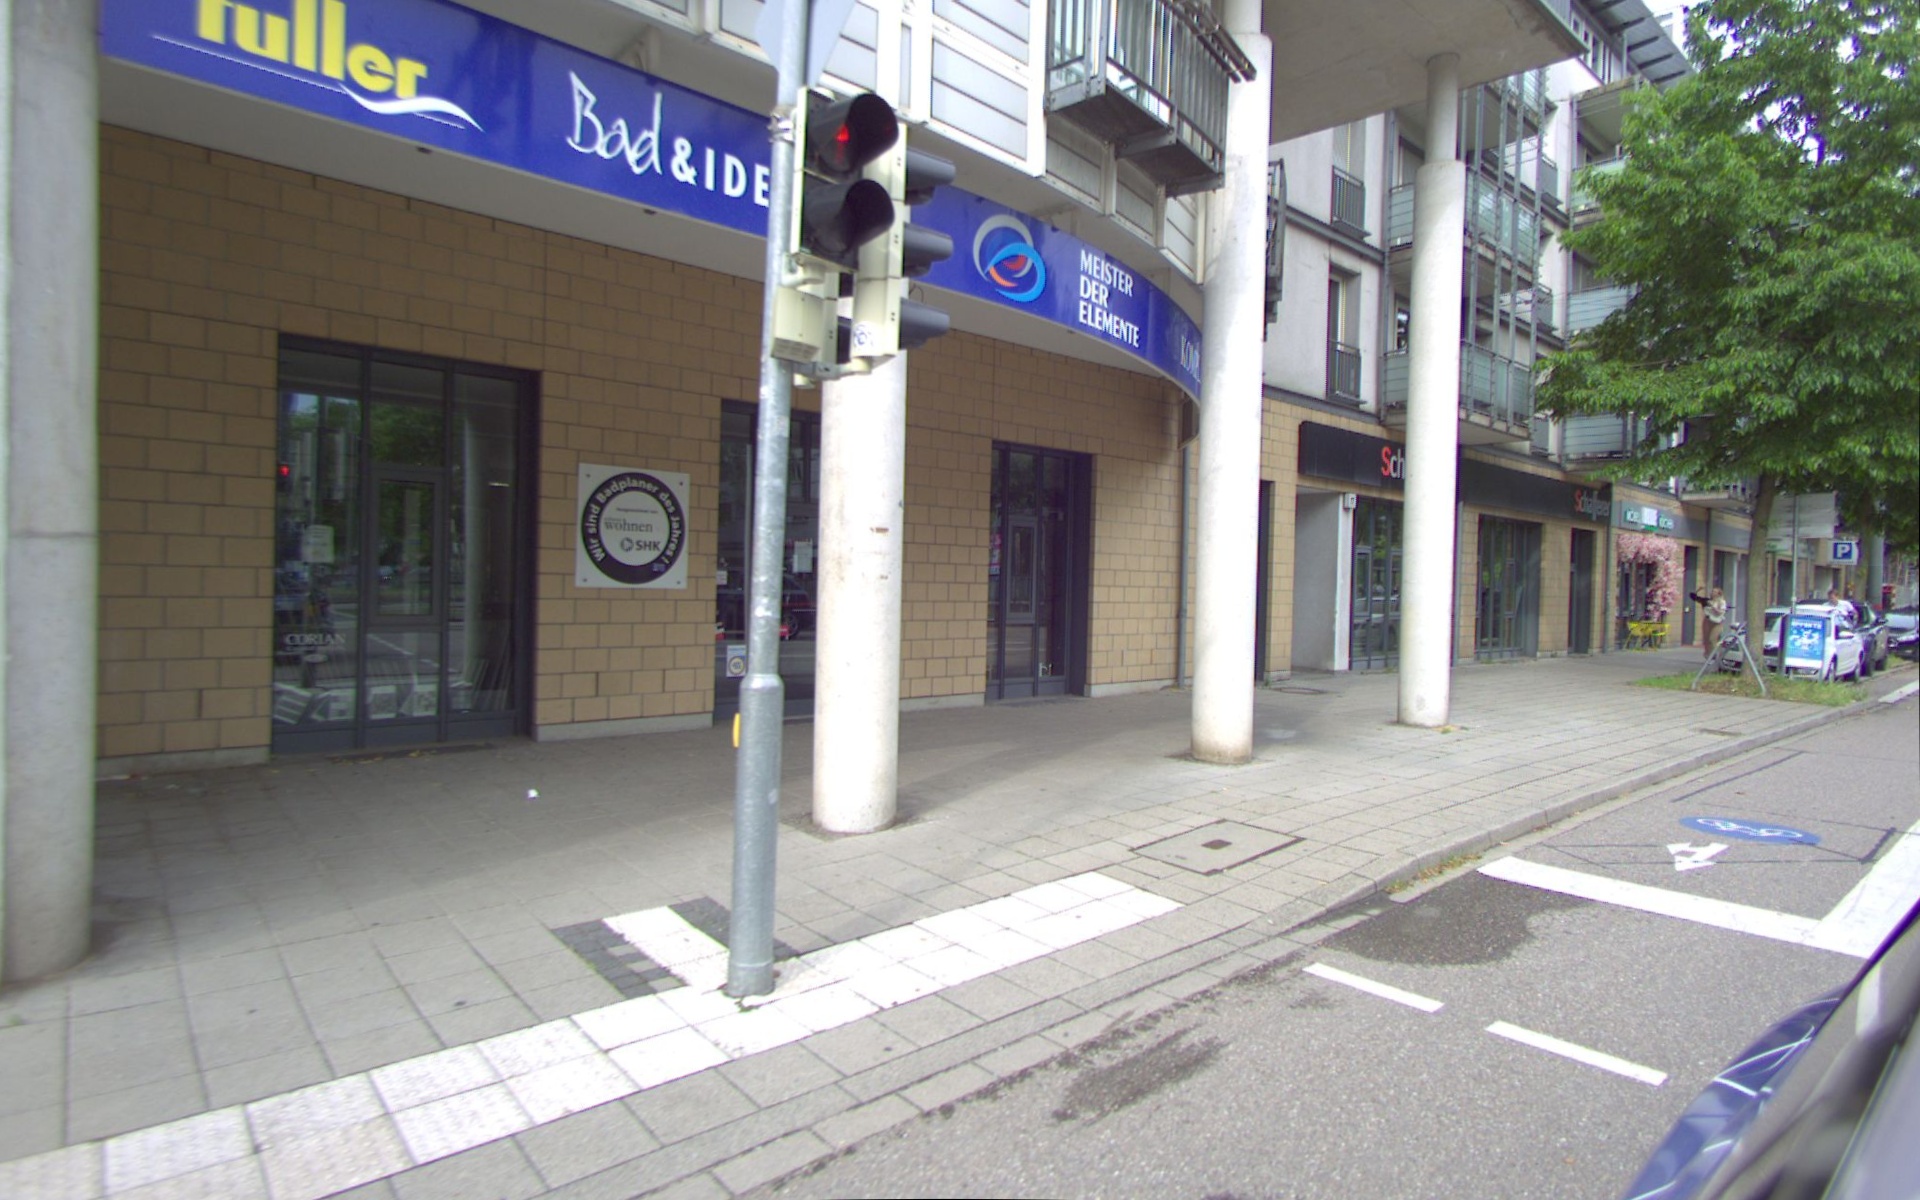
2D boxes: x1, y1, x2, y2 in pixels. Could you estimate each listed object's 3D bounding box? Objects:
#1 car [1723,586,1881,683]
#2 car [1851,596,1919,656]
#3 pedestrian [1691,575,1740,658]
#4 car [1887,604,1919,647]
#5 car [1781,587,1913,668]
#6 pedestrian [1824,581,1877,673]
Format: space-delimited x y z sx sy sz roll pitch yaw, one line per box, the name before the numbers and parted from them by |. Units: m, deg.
car | 17.111 0.630 20.502 4.031 1.682 1.730 0 4 -41
car | 27.601 0.722 29.630 3.873 1.564 1.684 0 3 -41
pedestrian | 17.107 0.369 22.919 0.825 1.828 0.744 1 0 -41
car | 33.365 0.883 34.765 3.748 1.400 1.730 0 3 -41
car | 20.894 0.594 23.800 3.873 1.682 1.730 0 3 -41
pedestrian | 19.345 0.575 21.990 0.630 1.958 0.655 1 0 -25
